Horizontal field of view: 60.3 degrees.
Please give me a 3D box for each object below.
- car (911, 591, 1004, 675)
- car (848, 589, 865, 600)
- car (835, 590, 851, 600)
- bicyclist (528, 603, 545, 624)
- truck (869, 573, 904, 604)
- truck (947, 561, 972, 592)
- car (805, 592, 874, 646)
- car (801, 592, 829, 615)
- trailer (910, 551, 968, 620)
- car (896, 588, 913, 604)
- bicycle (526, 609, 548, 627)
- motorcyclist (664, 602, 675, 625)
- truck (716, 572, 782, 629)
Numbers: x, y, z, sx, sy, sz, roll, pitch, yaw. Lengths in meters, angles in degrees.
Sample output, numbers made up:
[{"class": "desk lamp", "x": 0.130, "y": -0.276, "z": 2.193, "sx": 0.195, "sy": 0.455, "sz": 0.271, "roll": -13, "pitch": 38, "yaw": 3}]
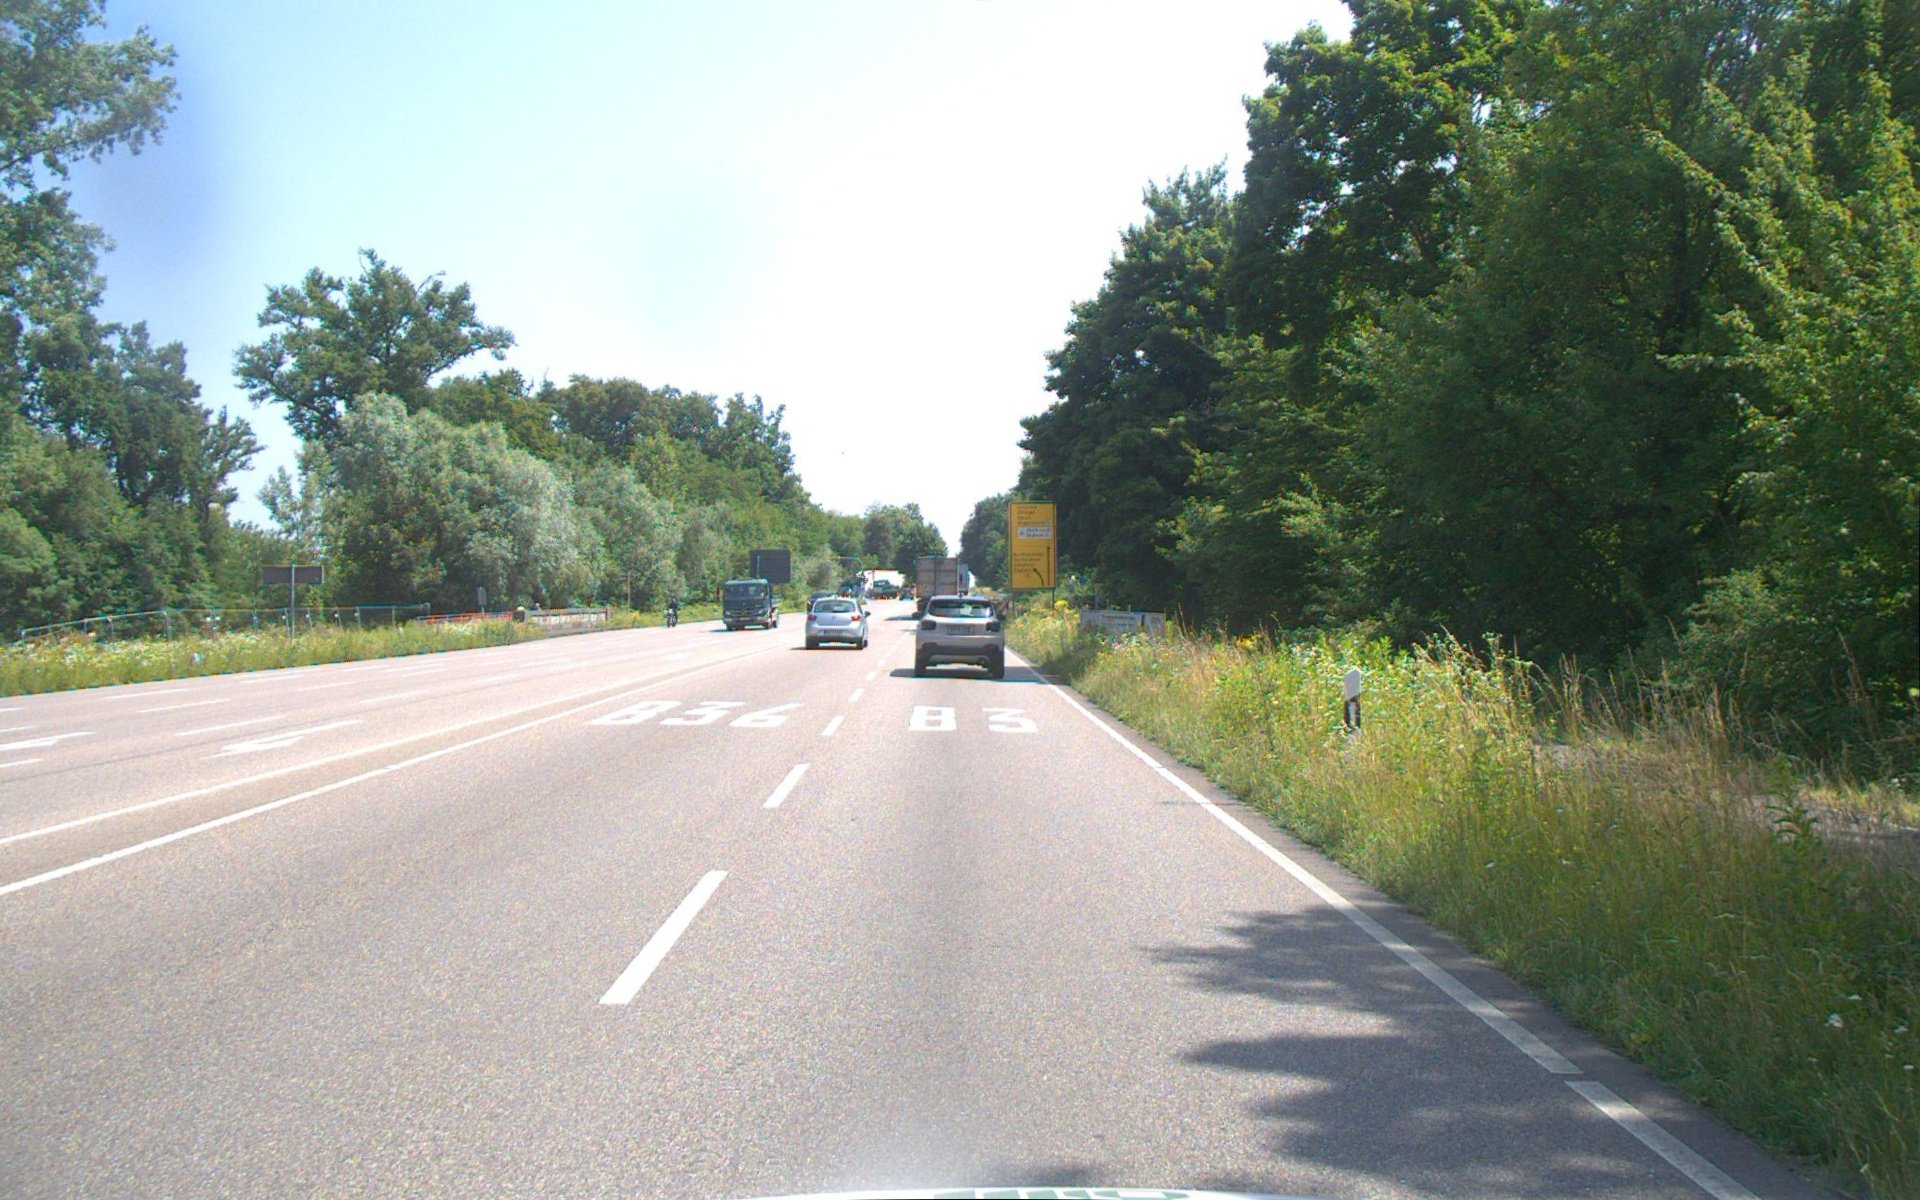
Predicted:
[{"class": "car", "x": -0.023, "y": 0.613, "z": 33.070, "sx": 1.731, "sy": 1.561, "sz": 4.000, "roll": 0, "pitch": 0, "yaw": 1}, {"class": "car", "x": -15.694, "y": -0.774, "z": 251.312, "sx": 1.960, "sy": 1.613, "sz": 3.985, "roll": 1, "pitch": 0, "yaw": -14}, {"class": "car", "x": -18.436, "y": -0.768, "z": 260.113, "sx": 1.960, "sy": 1.613, "sz": 3.985, "roll": 1, "pitch": 0, "yaw": -14}, {"class": "bicyclist", "x": -24.331, "y": 0.779, "z": 95.015, "sx": 0.719, "sy": 1.216, "sz": 0.592, "roll": -2, "pitch": -1, "yaw": 11}, {"class": "truck", "x": -10.469, "y": -1.586, "z": 234.313, "sx": 3.580, "sy": 4.177, "sz": 9.486, "roll": -1, "pitch": 0, "yaw": -10}, {"class": "truck", "x": -0.140, "y": -3.308, "z": 241.184, "sx": 3.426, "sy": 4.261, "sz": 10.781, "roll": 1, "pitch": 0, "yaw": -1}, {"class": "car", "x": -3.414, "y": 0.515, "z": 47.424, "sx": 1.631, "sy": 1.455, "sz": 3.828, "roll": 1, "pitch": 0, "yaw": 1}, {"class": "car", "x": -12.537, "y": 0.275, "z": 143.320, "sx": 1.953, "sy": 1.914, "sz": 4.959, "roll": -1, "pitch": 0, "yaw": -1}, {"class": "trailer", "x": -1.210, "y": -0.818, "z": 103.589, "sx": 3.313, "sy": 4.058, "sz": 10.804, "roll": 1, "pitch": 0, "yaw": 0}, {"class": "car", "x": -7.242, "y": -0.492, "z": 214.839, "sx": 1.955, "sy": 2.049, "sz": 4.548, "roll": -1, "pitch": 0, "yaw": -5}, {"class": "bicycle", "x": -24.305, "y": 1.018, "z": 95.000, "sx": 0.591, "sy": 1.023, "sz": 1.557, "roll": -2, "pitch": 0, "yaw": 11}, {"class": "motorcyclist", "x": -17.644, "y": 0.843, "z": 100.460, "sx": 0.566, "sy": 1.377, "sz": 0.754, "roll": -1, "pitch": 0, "yaw": -3}, {"class": "truck", "x": -10.825, "y": 0.004, "z": 85.443, "sx": 2.404, "sy": 2.702, "sz": 6.491, "roll": -3, "pitch": 0, "yaw": 0}]
